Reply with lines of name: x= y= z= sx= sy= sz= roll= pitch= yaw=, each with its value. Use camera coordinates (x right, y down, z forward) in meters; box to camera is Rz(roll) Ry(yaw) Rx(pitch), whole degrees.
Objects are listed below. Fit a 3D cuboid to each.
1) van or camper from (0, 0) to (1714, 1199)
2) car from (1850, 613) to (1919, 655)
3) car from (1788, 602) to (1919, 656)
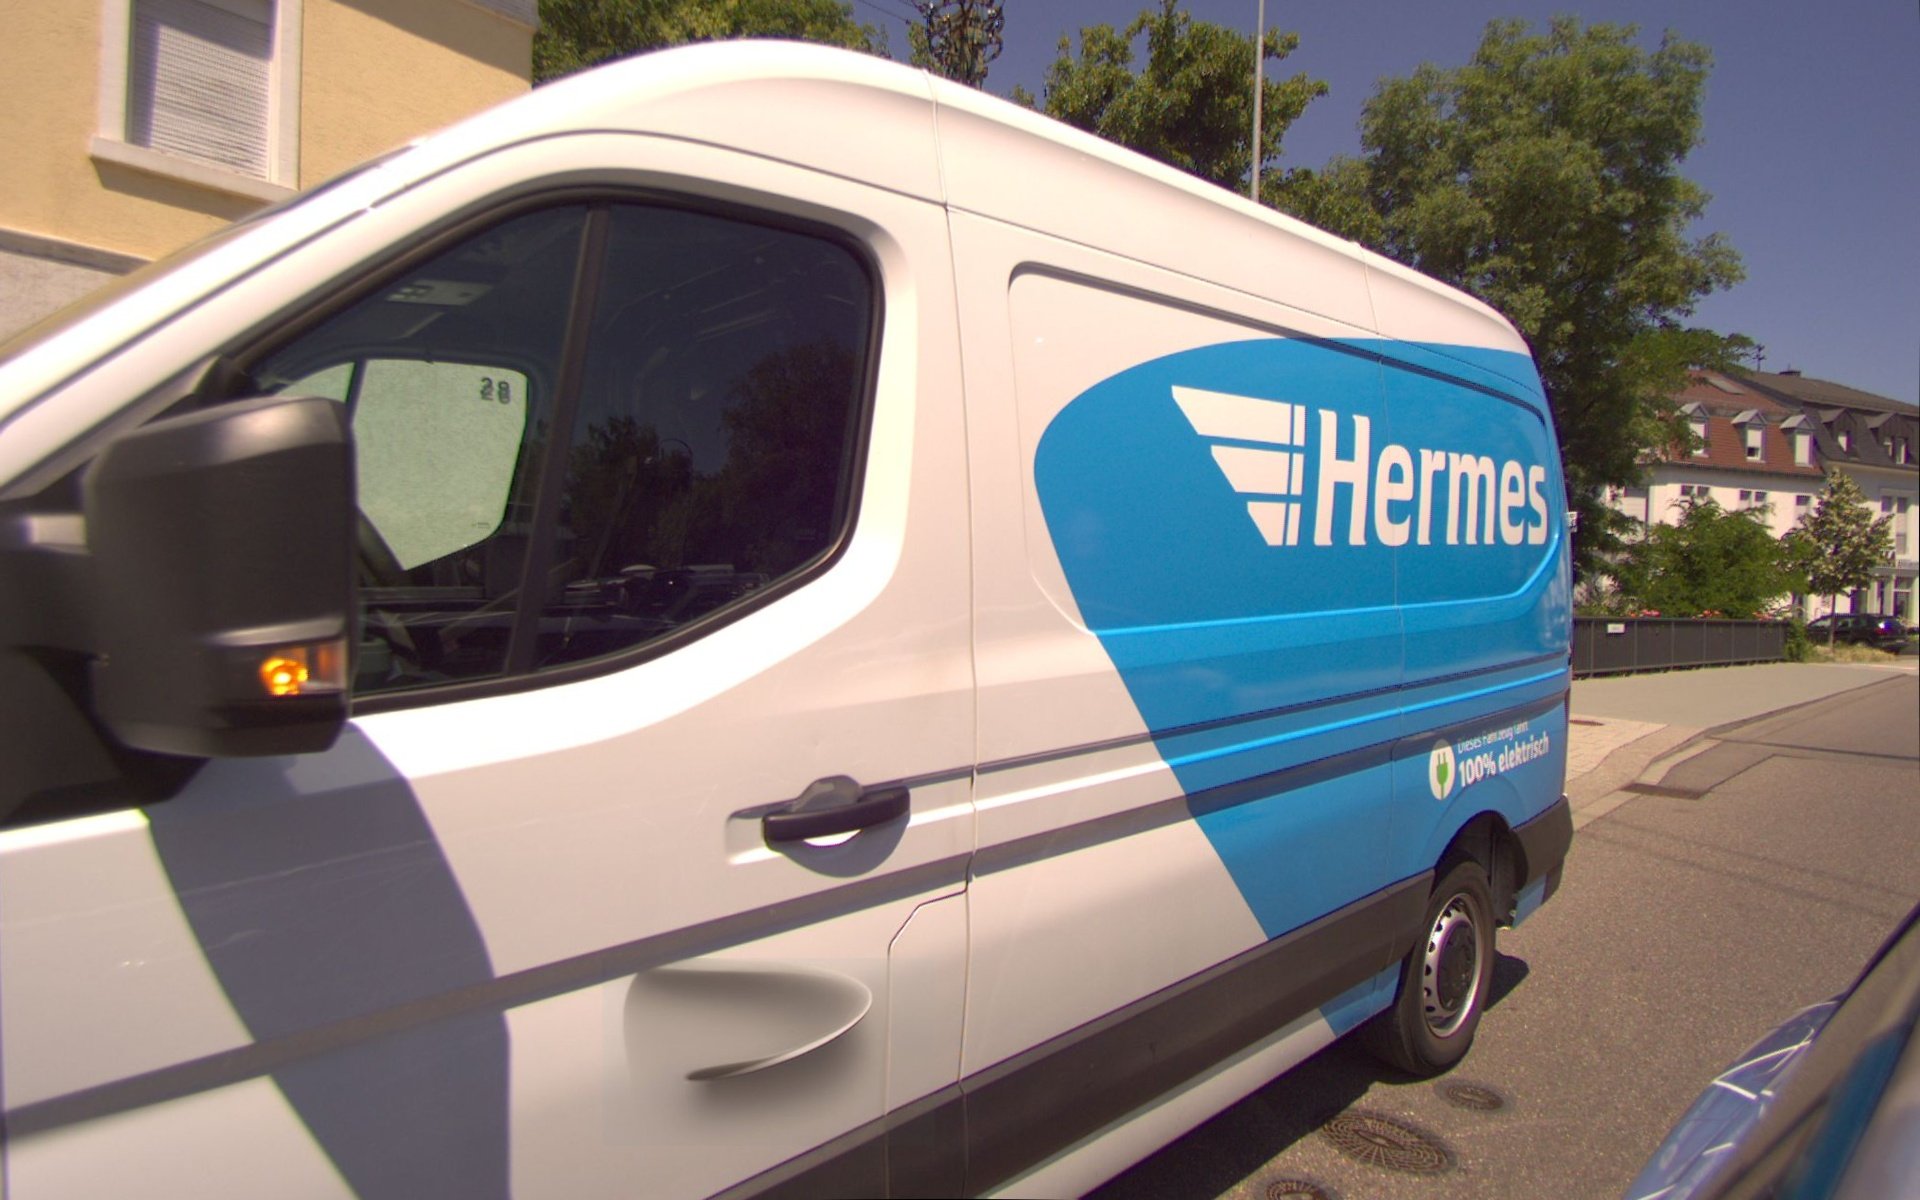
van or camper: x=0.017 y=0.138 z=2.852 sx=6.070 sy=2.497 sz=2.112 roll=-1 pitch=3 yaw=-42
car: x=39.096 y=1.376 z=41.088 sx=1.958 sy=1.692 sz=4.007 roll=1 pitch=-1 yaw=-15
car: x=35.859 y=1.139 z=40.338 sx=1.958 sy=2.040 sz=4.007 roll=0 pitch=-1 yaw=-15
